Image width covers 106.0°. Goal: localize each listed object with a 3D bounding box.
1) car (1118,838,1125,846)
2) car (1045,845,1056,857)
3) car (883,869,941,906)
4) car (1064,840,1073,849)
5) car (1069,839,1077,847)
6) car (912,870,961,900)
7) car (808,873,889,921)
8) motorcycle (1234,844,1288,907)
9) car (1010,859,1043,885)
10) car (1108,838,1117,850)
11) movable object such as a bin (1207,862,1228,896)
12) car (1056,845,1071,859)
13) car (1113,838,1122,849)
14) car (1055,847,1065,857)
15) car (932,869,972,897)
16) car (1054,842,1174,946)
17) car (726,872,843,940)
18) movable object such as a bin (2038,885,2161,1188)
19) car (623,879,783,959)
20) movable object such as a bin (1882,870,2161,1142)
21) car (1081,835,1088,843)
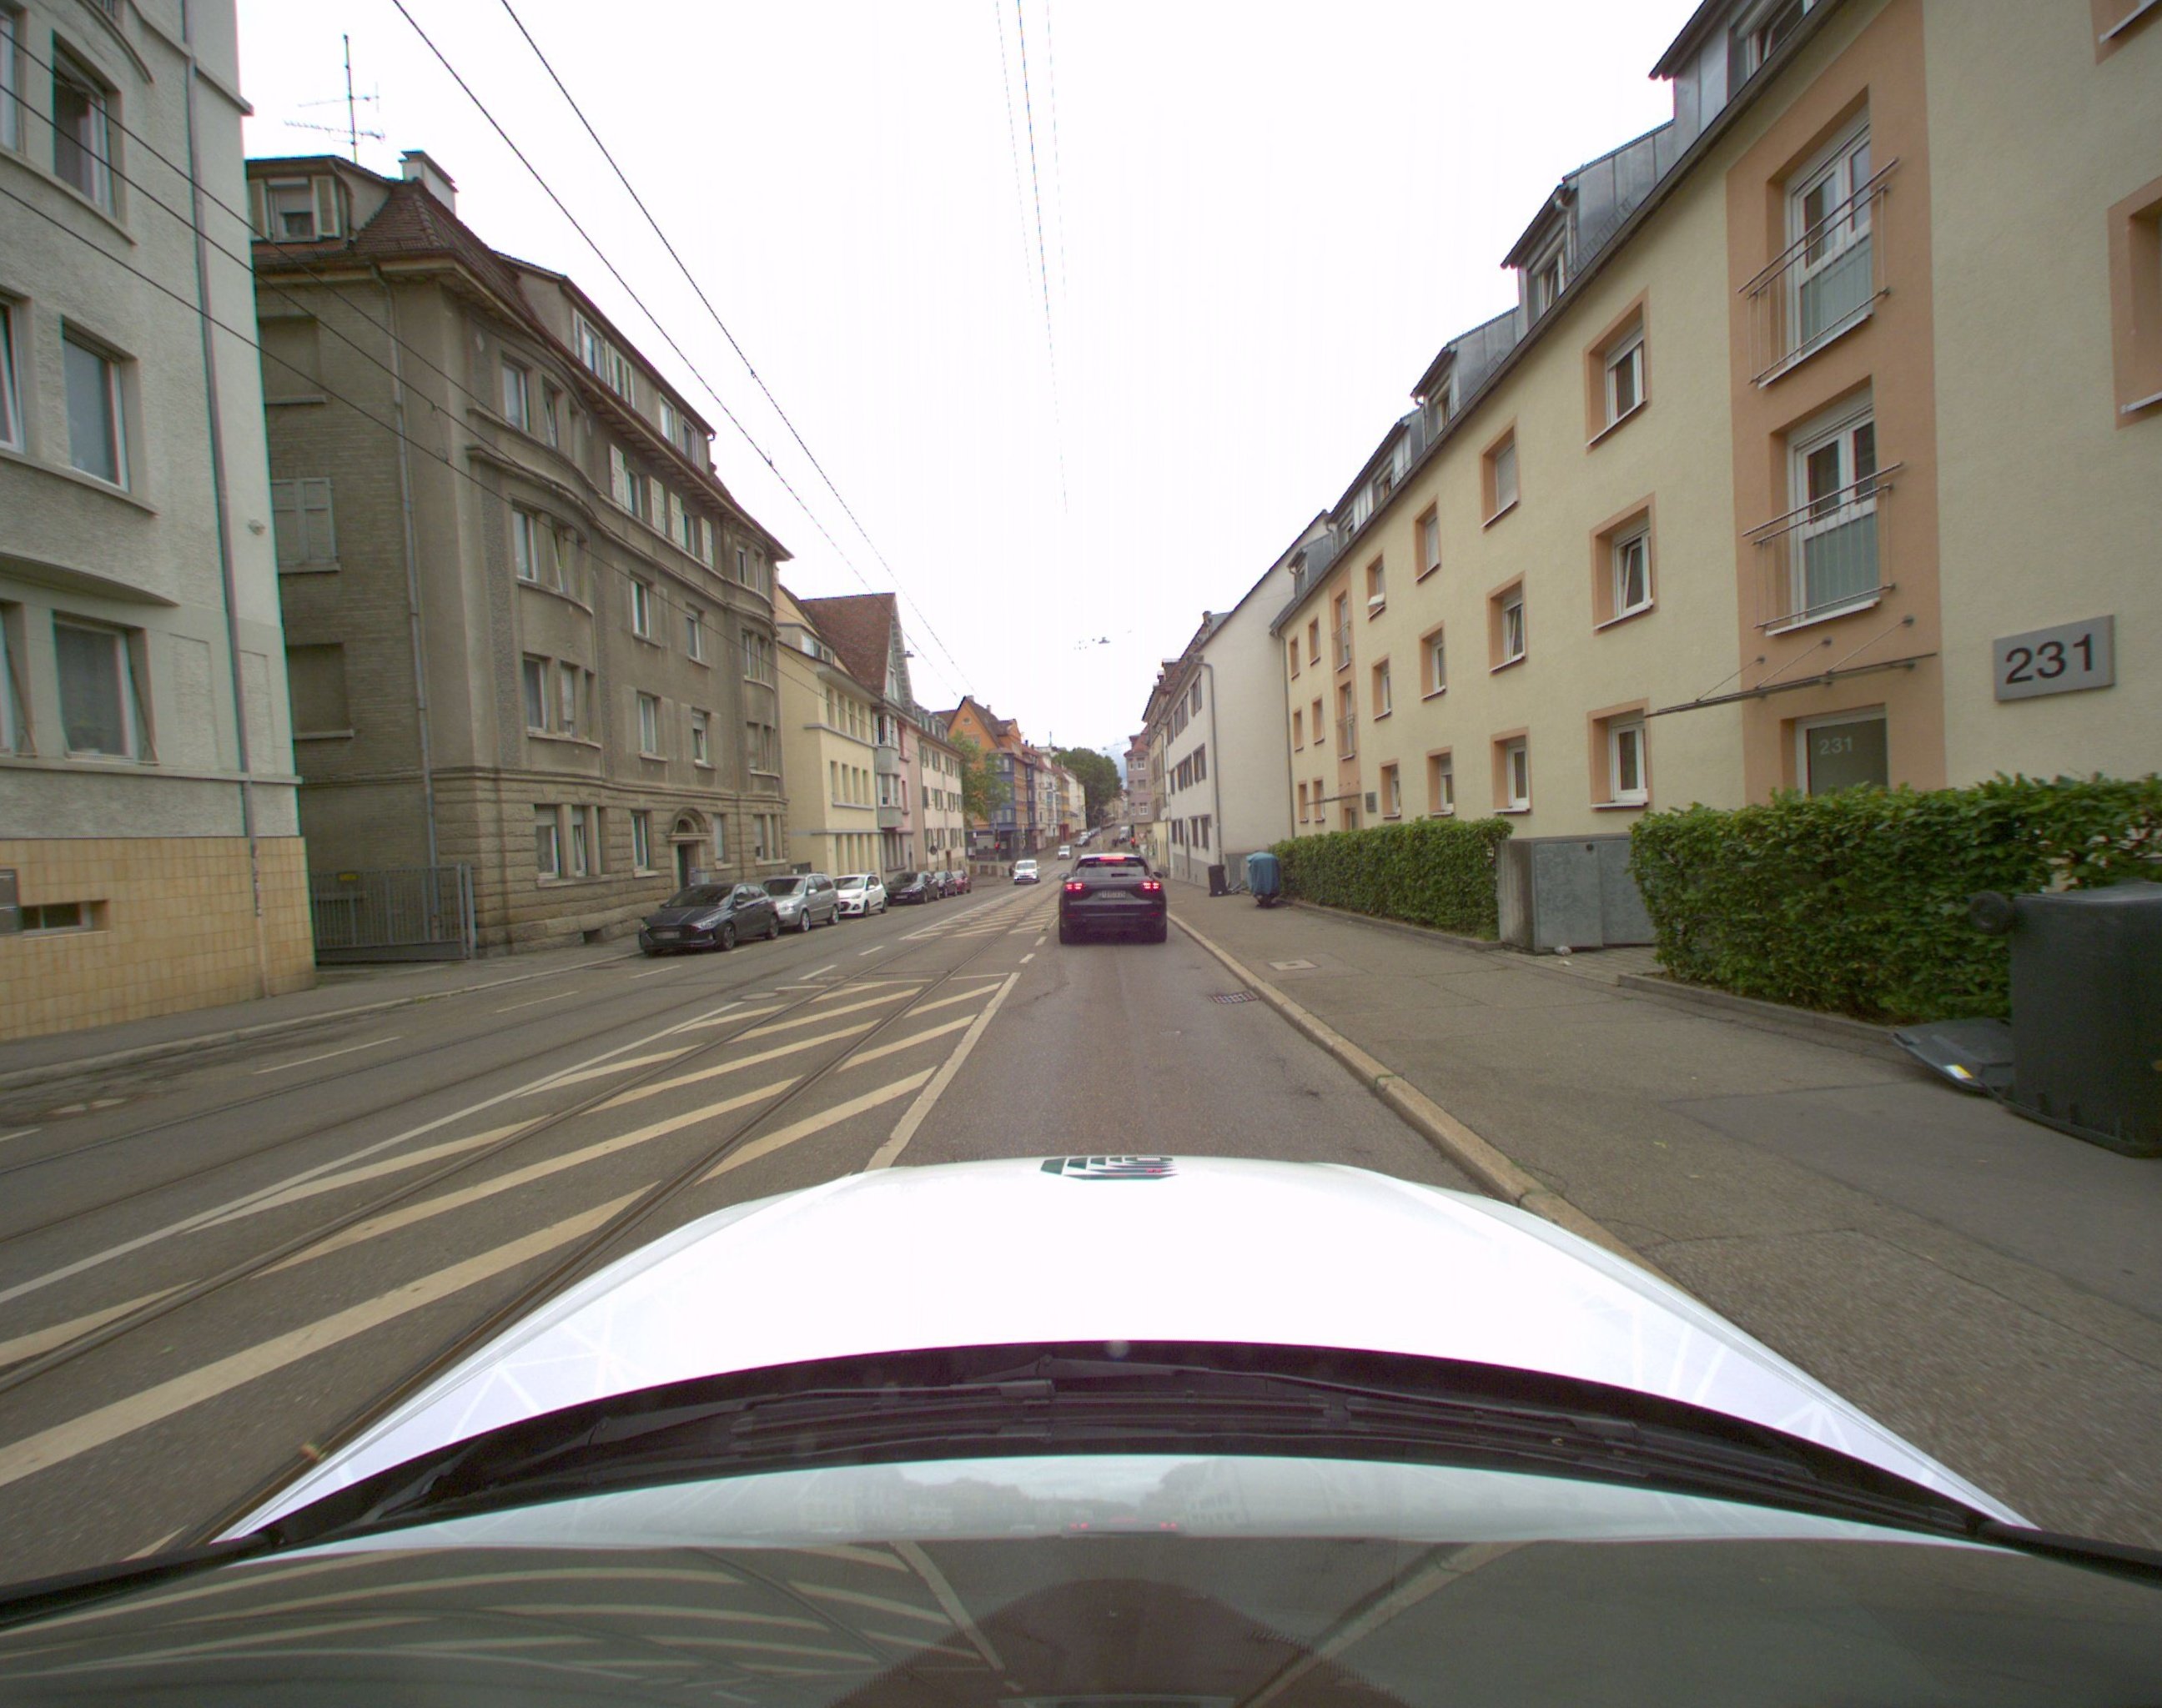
[{"bbox_3d":[7.996,-2.436,161.090,1.389,1.450,3.360,-3,-1,2],"label":"car"},{"bbox_3d":[-4.569,-0.437,122.414,1.389,1.722,3.360,-3,-1,2],"label":"car"},{"bbox_3d":[-7.660,1.527,37.335,1.615,1.473,4.555,-4,-2,0],"label":"car"},{"bbox_3d":[-2.271,-1.759,149.631,1.389,1.450,3.360,-3,-1,2],"label":"car"},{"bbox_3d":[-1.483,-2.108,156.177,1.389,1.450,3.360,-3,-1,2],"label":"car"},{"bbox_3d":[-7.641,1.609,43.424,1.729,1.410,4.001,-3,-1,1],"label":"car"},{"bbox_3d":[-8.080,1.472,28.620,1.615,1.463,3.686,-4,-2,2],"label":"car"},{"bbox_3d":[4.563,0.541,20.848,0.835,1.457,2.554,-3,-1,2],"label":"motorcycle"},{"bbox_3d":[-4.049,1.338,61.088,1.913,1.819,4.220,-3,-1,3],"label":"car"},{"bbox_3d":[5.002,-1.561,128.772,1.389,1.722,3.360,-3,-1,2],"label":"car"},{"bbox_3d":[4.641,0.844,27.653,0.586,1.080,0.692,-3,-1,3],"label":"movable object such as a bin"},{"bbox_3d":[-2.375,-0.222,113.368,1.744,1.760,4.255,-3,-1,2],"label":"car"},{"bbox_3d":[5.988,-1.690,135.492,1.389,1.722,3.360,-3,-1,2],"label":"car"},{"bbox_3d":[-3.534,-0.372,135.264,1.389,1.450,3.360,-3,-1,2],"label":"car"},{"bbox_3d":[-7.605,1.696,48.317,1.615,1.490,4.046,-4,-2,0],"label":"car"},{"bbox_3d":[0.616,0.730,16.063,1.986,1.676,4.000,-3,-1,1],"label":"car"},{"bbox_3d":[-8.201,1.388,22.951,1.615,1.604,4.350,-4,-2,0],"label":"car"},{"bbox_3d":[4.087,0.621,2.723,0.790,1.012,0.788,-3,-1,-3],"label":"movable object such as a bin"},{"bbox_3d":[-8.295,1.362,18.295,1.615,1.463,4.032,-4,-2,0],"label":"car"},{"bbox_3d":[4.310,0.600,3.555,0.788,1.012,0.790,-3,-1,3],"label":"movable object such as a bin"},{"bbox_3d":[0.767,-3.197,173.318,1.389,1.450,3.360,-3,-1,2],"label":"car"}]
